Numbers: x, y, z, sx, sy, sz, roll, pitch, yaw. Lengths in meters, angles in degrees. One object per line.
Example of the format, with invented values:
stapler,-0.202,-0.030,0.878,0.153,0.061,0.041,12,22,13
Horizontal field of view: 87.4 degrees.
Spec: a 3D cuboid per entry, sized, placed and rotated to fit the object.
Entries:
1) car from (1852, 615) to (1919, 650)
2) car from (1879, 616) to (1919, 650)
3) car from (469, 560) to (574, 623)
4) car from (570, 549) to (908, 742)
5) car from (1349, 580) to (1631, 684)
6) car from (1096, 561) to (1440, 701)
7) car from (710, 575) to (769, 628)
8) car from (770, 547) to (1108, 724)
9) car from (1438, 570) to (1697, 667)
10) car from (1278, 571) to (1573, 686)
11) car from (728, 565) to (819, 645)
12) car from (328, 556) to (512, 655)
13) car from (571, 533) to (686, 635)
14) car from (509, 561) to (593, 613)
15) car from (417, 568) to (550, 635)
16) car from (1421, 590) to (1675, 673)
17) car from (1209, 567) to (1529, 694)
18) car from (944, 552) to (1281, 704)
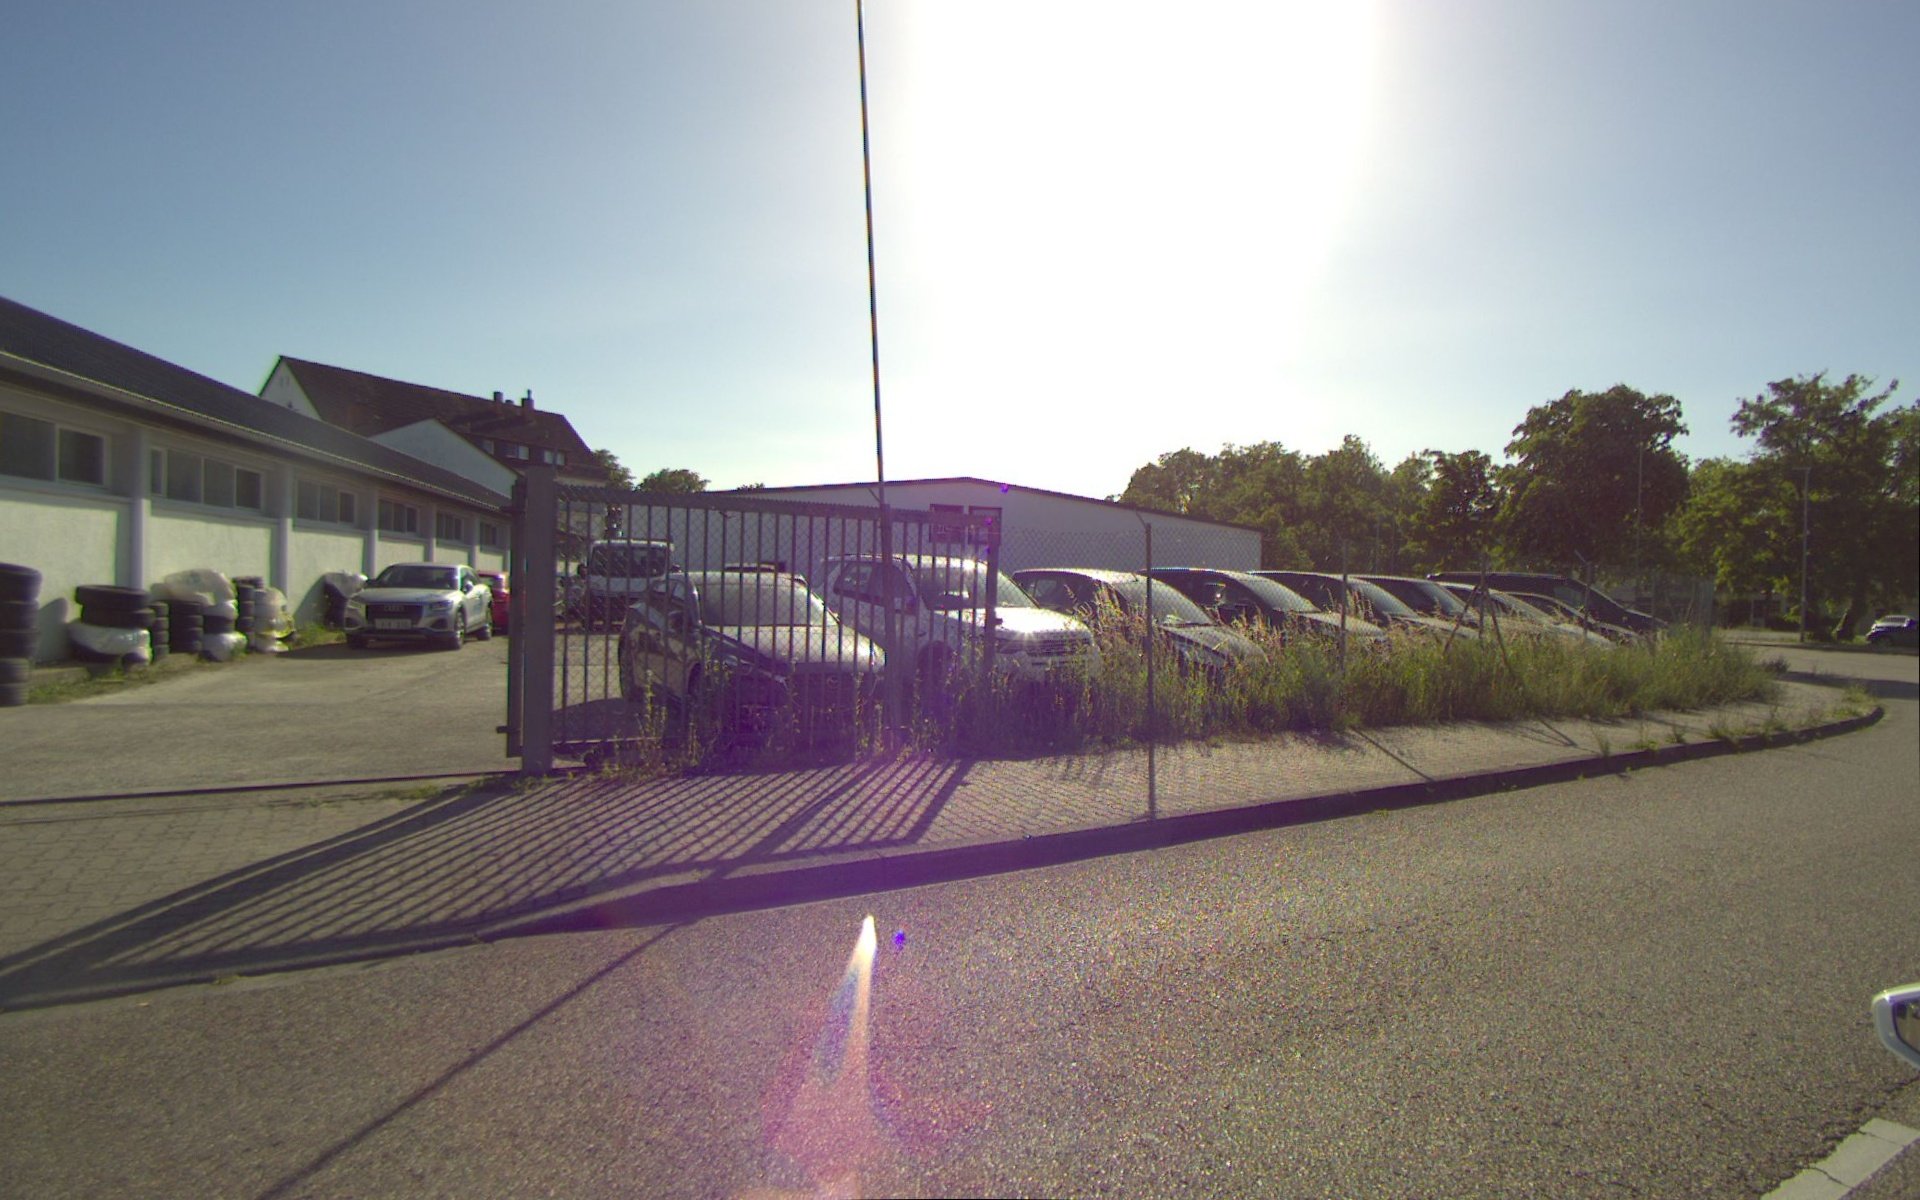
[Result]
car,42.768,1.482,44.183,1.974,1.445,4.894,1,1,-26
car,45.069,1.563,45.321,1.974,1.504,4.894,1,1,-26
car,-12.215,-0.265,28.256,1.808,1.583,4.393,2,1,-12
car,-2.475,0.320,10.288,1.822,1.527,4.360,1,1,-35
car,9.898,0.512,18.986,4.343,1.671,1.829,2,1,44
car,4.190,0.326,14.274,1.825,1.671,4.352,1,1,-40
car,-7.547,0.011,34.509,1.808,1.671,4.393,2,1,-12
car,-0.459,0.293,11.807,1.822,1.671,4.360,1,1,-35
car,13.517,0.348,22.679,4.763,1.918,1.837,2,1,29
car,7.902,0.413,17.181,4.328,1.671,1.835,2,1,33
car,-4.286,0.075,22.836,1.808,1.583,4.393,2,1,-12
car,-9.846,0.070,18.708,1.808,1.583,4.393,2,1,-12
car,-8.416,-0.466,26.045,2.073,2.302,5.750,2,2,-11
car,-13.543,-0.443,33.525,1.808,1.583,4.393,2,1,-12
car,-11.053,-0.002,23.623,1.808,1.394,4.393,2,1,-12
car,12.028,0.587,20.852,4.323,1.456,1.838,2,1,28
car,6.305,0.382,15.646,4.328,1.671,1.835,2,1,33
car,1.818,0.260,13.298,1.824,1.671,4.356,1,1,-37
